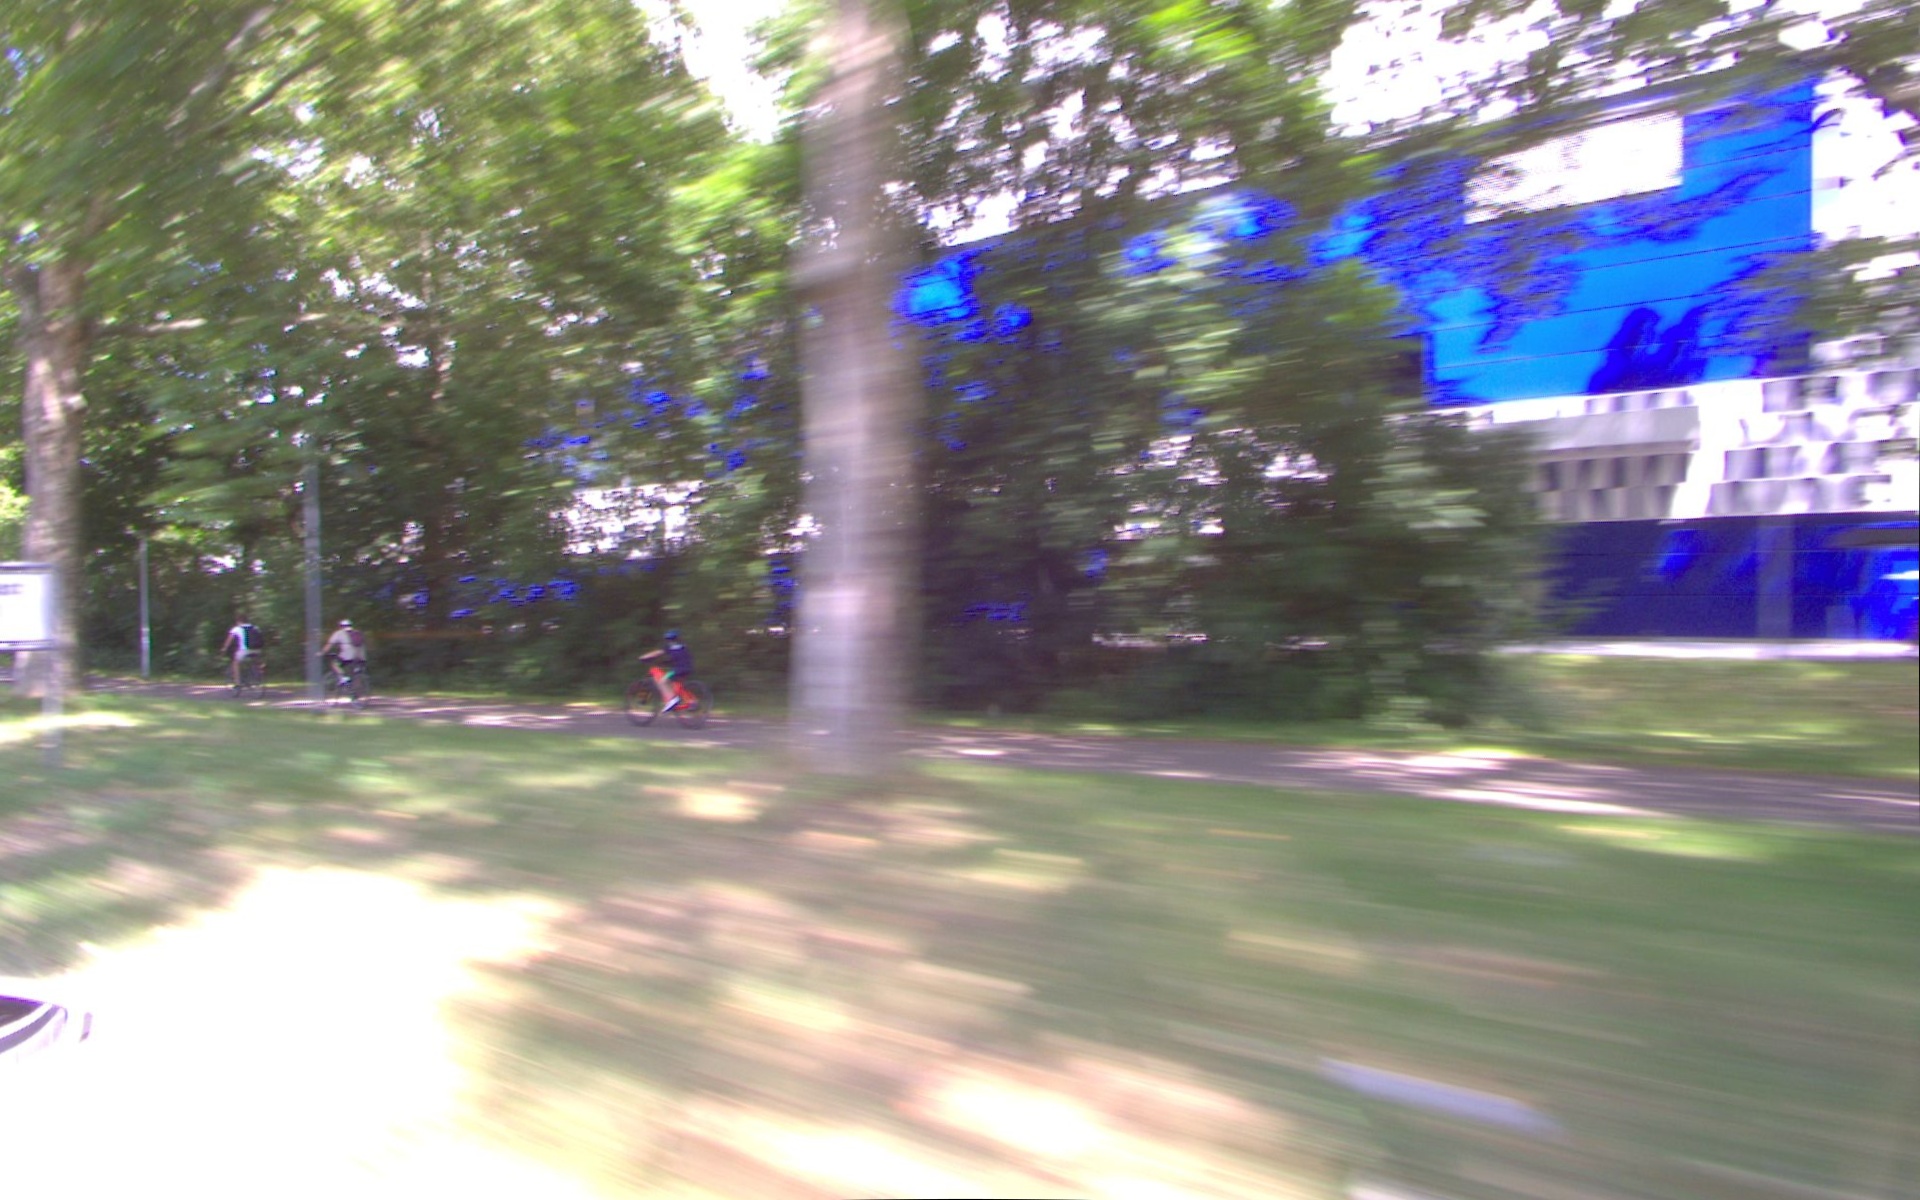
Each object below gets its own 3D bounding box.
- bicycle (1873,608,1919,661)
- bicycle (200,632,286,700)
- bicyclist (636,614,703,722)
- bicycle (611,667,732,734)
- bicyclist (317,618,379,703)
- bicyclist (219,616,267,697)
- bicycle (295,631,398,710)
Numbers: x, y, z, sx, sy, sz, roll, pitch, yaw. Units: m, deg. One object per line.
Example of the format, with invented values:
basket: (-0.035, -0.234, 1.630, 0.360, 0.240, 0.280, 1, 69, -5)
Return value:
bicycle: (18.362, 0.654, 19.137, 0.855, 0.981, 2.058, 0, -1, 28)
bicycle: (-16.185, 1.450, 22.573, 2.623, 1.438, 0.609, 0, 0, 32)
bicyclist: (-4.525, 1.033, 15.585, 0.805, 1.631, 0.622, 0, 0, 32)
bicycle: (-4.513, 1.541, 15.598, 1.994, 0.898, 0.644, 0, 0, 32)
bicyclist: (-12.007, 1.163, 19.648, 1.038, 1.620, 0.657, 0, 0, 33)
bicyclist: (-16.087, 1.258, 22.472, 0.831, 1.768, 0.596, 0, 0, 32)
bicycle: (-12.095, 1.349, 19.704, 2.623, 1.438, 0.609, 0, 0, 32)
